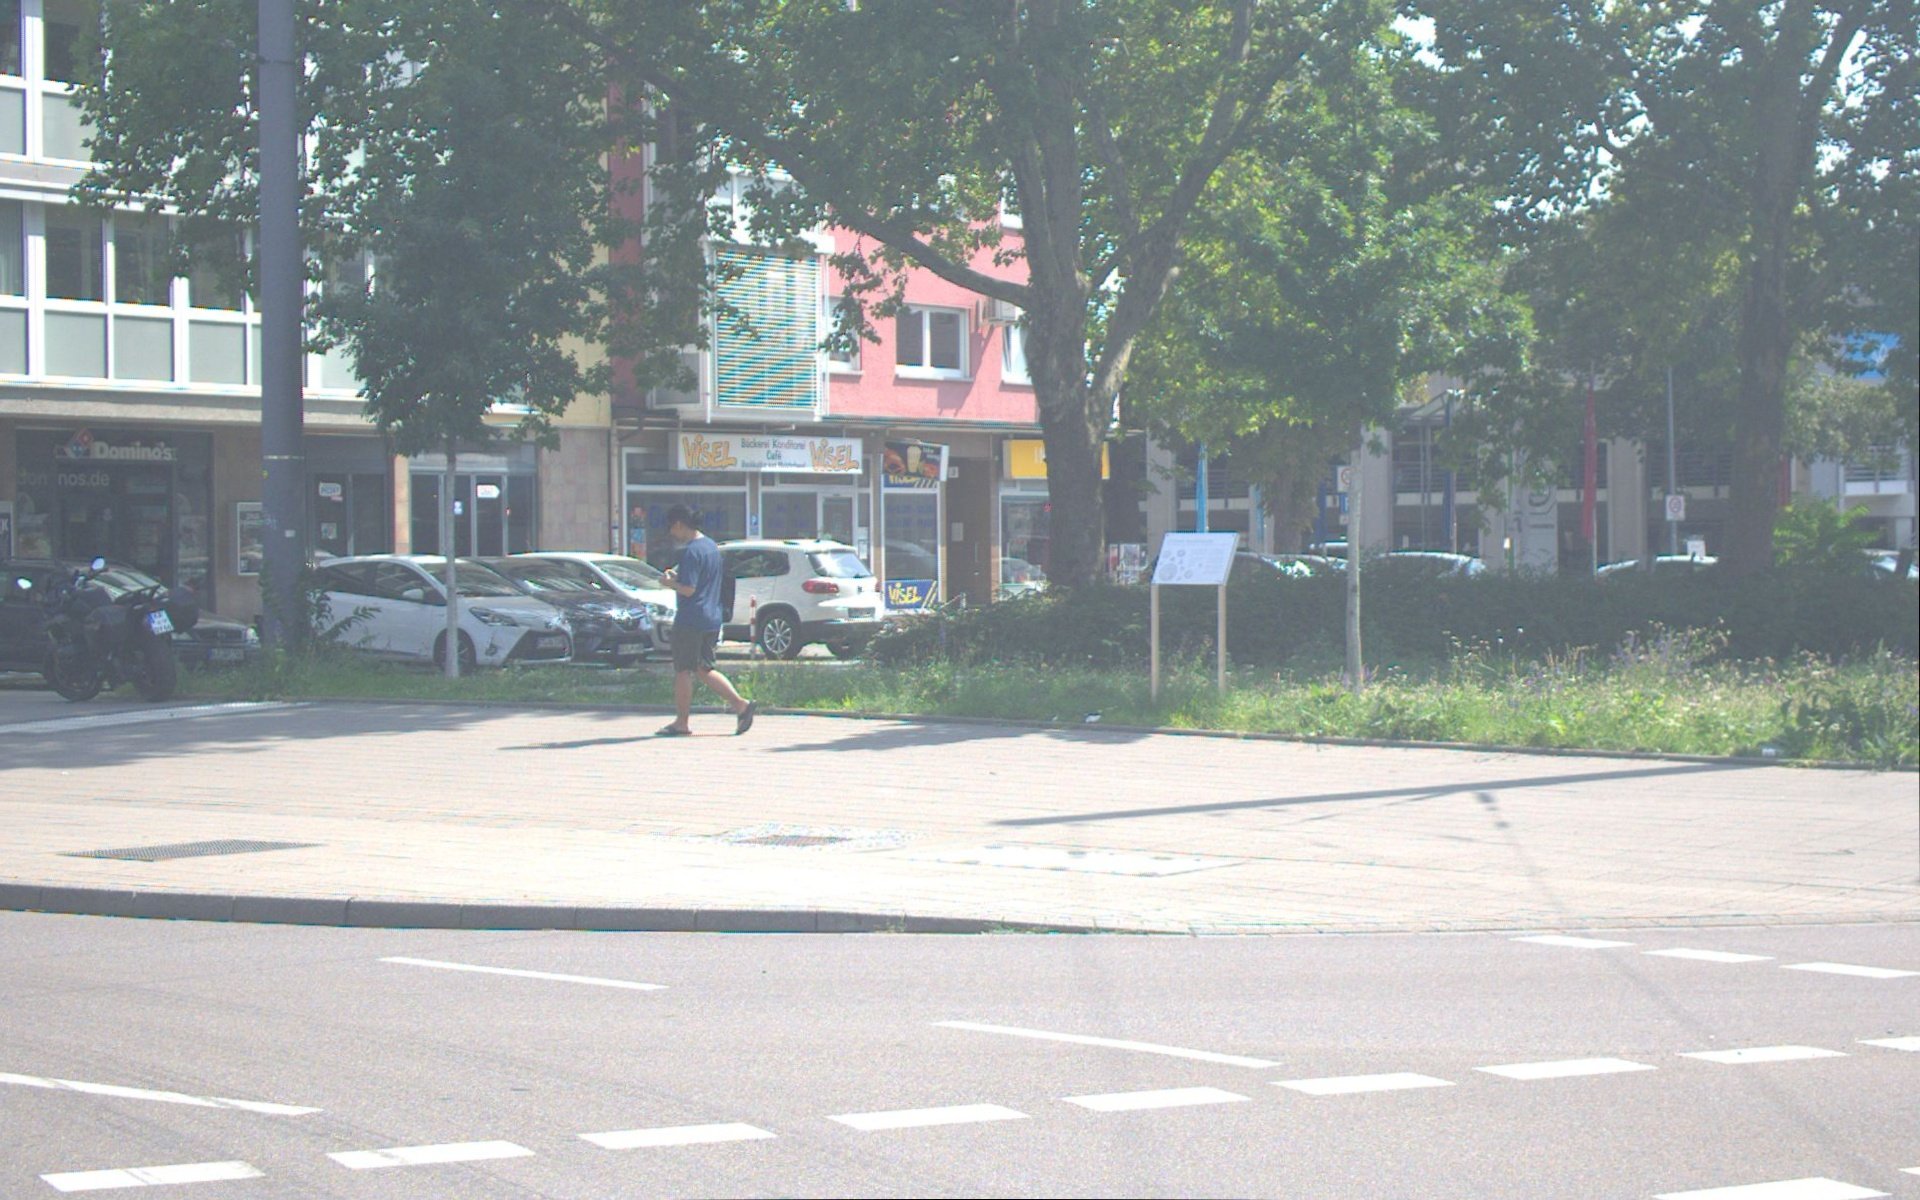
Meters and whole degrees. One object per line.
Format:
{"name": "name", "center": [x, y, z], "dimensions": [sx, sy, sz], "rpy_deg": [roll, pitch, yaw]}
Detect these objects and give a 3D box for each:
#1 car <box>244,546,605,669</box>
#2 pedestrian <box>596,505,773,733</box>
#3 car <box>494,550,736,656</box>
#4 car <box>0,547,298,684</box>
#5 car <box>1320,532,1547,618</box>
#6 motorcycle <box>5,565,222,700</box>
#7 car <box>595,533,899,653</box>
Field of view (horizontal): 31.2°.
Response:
{"name": "car", "center": [-6.705, 0.082, 42.944], "dimensions": [4.240, 1.465, 1.903], "rpy_deg": [0, 1, 32]}
{"name": "pedestrian", "center": [-1.979, 0.134, 24.705], "dimensions": [0.948, 1.603, 0.792], "rpy_deg": [-1, 0, 31]}
{"name": "car", "center": [-4.760, 0.035, 47.339], "dimensions": [3.093, 1.424, 1.401], "rpy_deg": [0, 1, 32]}
{"name": "car", "center": [-9.699, 0.160, 38.672], "dimensions": [4.240, 1.465, 1.903], "rpy_deg": [0, 1, 32]}
{"name": "car", "center": [9.351, -0.490, 68.030], "dimensions": [4.067, 1.660, 1.787], "rpy_deg": [0, 1, 32]}
{"name": "motorcycle", "center": [-7.410, 0.270, 30.034], "dimensions": [0.910, 1.133, 2.111], "rpy_deg": [-1, 0, -43]}
{"name": "car", "center": [-3.076, -0.109, 49.402], "dimensions": [4.067, 1.660, 1.787], "rpy_deg": [0, 1, 32]}
